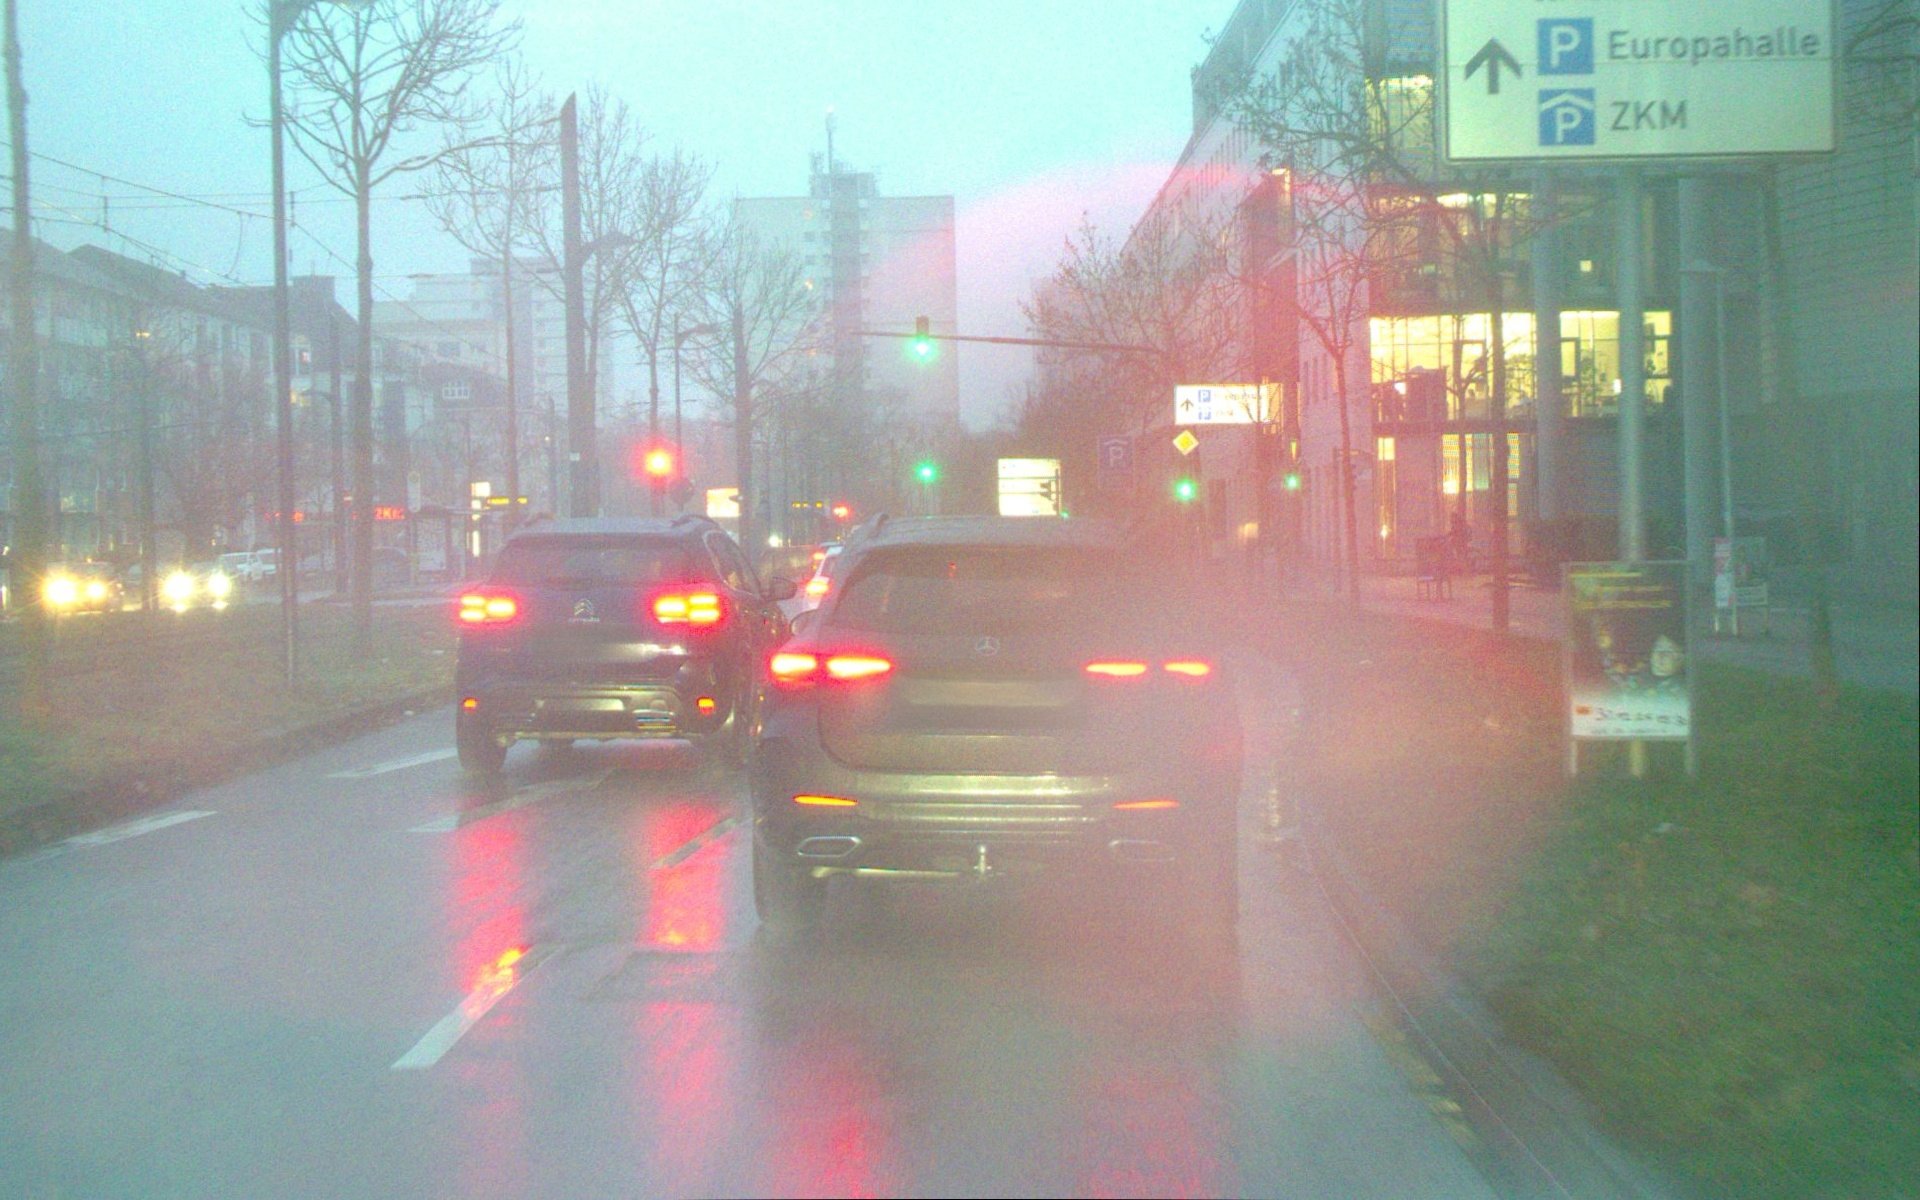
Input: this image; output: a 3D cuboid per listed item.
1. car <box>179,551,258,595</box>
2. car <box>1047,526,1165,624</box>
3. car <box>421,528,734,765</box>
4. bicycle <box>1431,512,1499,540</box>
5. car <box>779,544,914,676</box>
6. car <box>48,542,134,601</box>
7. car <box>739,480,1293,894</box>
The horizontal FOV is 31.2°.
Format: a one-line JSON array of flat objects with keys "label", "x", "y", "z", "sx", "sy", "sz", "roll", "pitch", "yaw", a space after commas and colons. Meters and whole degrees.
[{"label": "car", "x": -26.633, "y": -0.989, "z": 123.616, "sx": 1.880, "sy": 1.497, "sz": 4.791, "roll": 1, "pitch": 1, "yaw": -1}, {"label": "car", "x": 2.402, "y": -0.431, "z": 56.567, "sx": 1.867, "sy": 1.537, "sz": 3.610, "roll": 1, "pitch": 1, "yaw": 2}, {"label": "car", "x": -2.492, "y": 0.246, "z": 23.230, "sx": 1.817, "sy": 1.445, "sz": 4.001, "roll": 1, "pitch": 1, "yaw": -2}, {"label": "bicycle", "x": 13.818, "y": -2.025, "z": 94.097, "sx": 1.731, "sy": 0.743, "sz": 0.650, "roll": 1, "pitch": 1, "yaw": 33}, {"label": "car", "x": -1.458, "y": 0.098, "z": 45.183, "sx": 1.689, "sy": 1.629, "sz": 3.474, "roll": 1, "pitch": 1, "yaw": -1}, {"label": "car", "x": -24.883, "y": -0.831, "z": 98.511, "sx": 1.613, "sy": 1.617, "sz": 3.509, "roll": 1, "pitch": 1, "yaw": -1}, {"label": "car", "x": 0.179, "y": 0.286, "z": 14.321, "sx": 1.993, "sy": 1.478, "sz": 3.700, "roll": 1, "pitch": 1, "yaw": -1}]
